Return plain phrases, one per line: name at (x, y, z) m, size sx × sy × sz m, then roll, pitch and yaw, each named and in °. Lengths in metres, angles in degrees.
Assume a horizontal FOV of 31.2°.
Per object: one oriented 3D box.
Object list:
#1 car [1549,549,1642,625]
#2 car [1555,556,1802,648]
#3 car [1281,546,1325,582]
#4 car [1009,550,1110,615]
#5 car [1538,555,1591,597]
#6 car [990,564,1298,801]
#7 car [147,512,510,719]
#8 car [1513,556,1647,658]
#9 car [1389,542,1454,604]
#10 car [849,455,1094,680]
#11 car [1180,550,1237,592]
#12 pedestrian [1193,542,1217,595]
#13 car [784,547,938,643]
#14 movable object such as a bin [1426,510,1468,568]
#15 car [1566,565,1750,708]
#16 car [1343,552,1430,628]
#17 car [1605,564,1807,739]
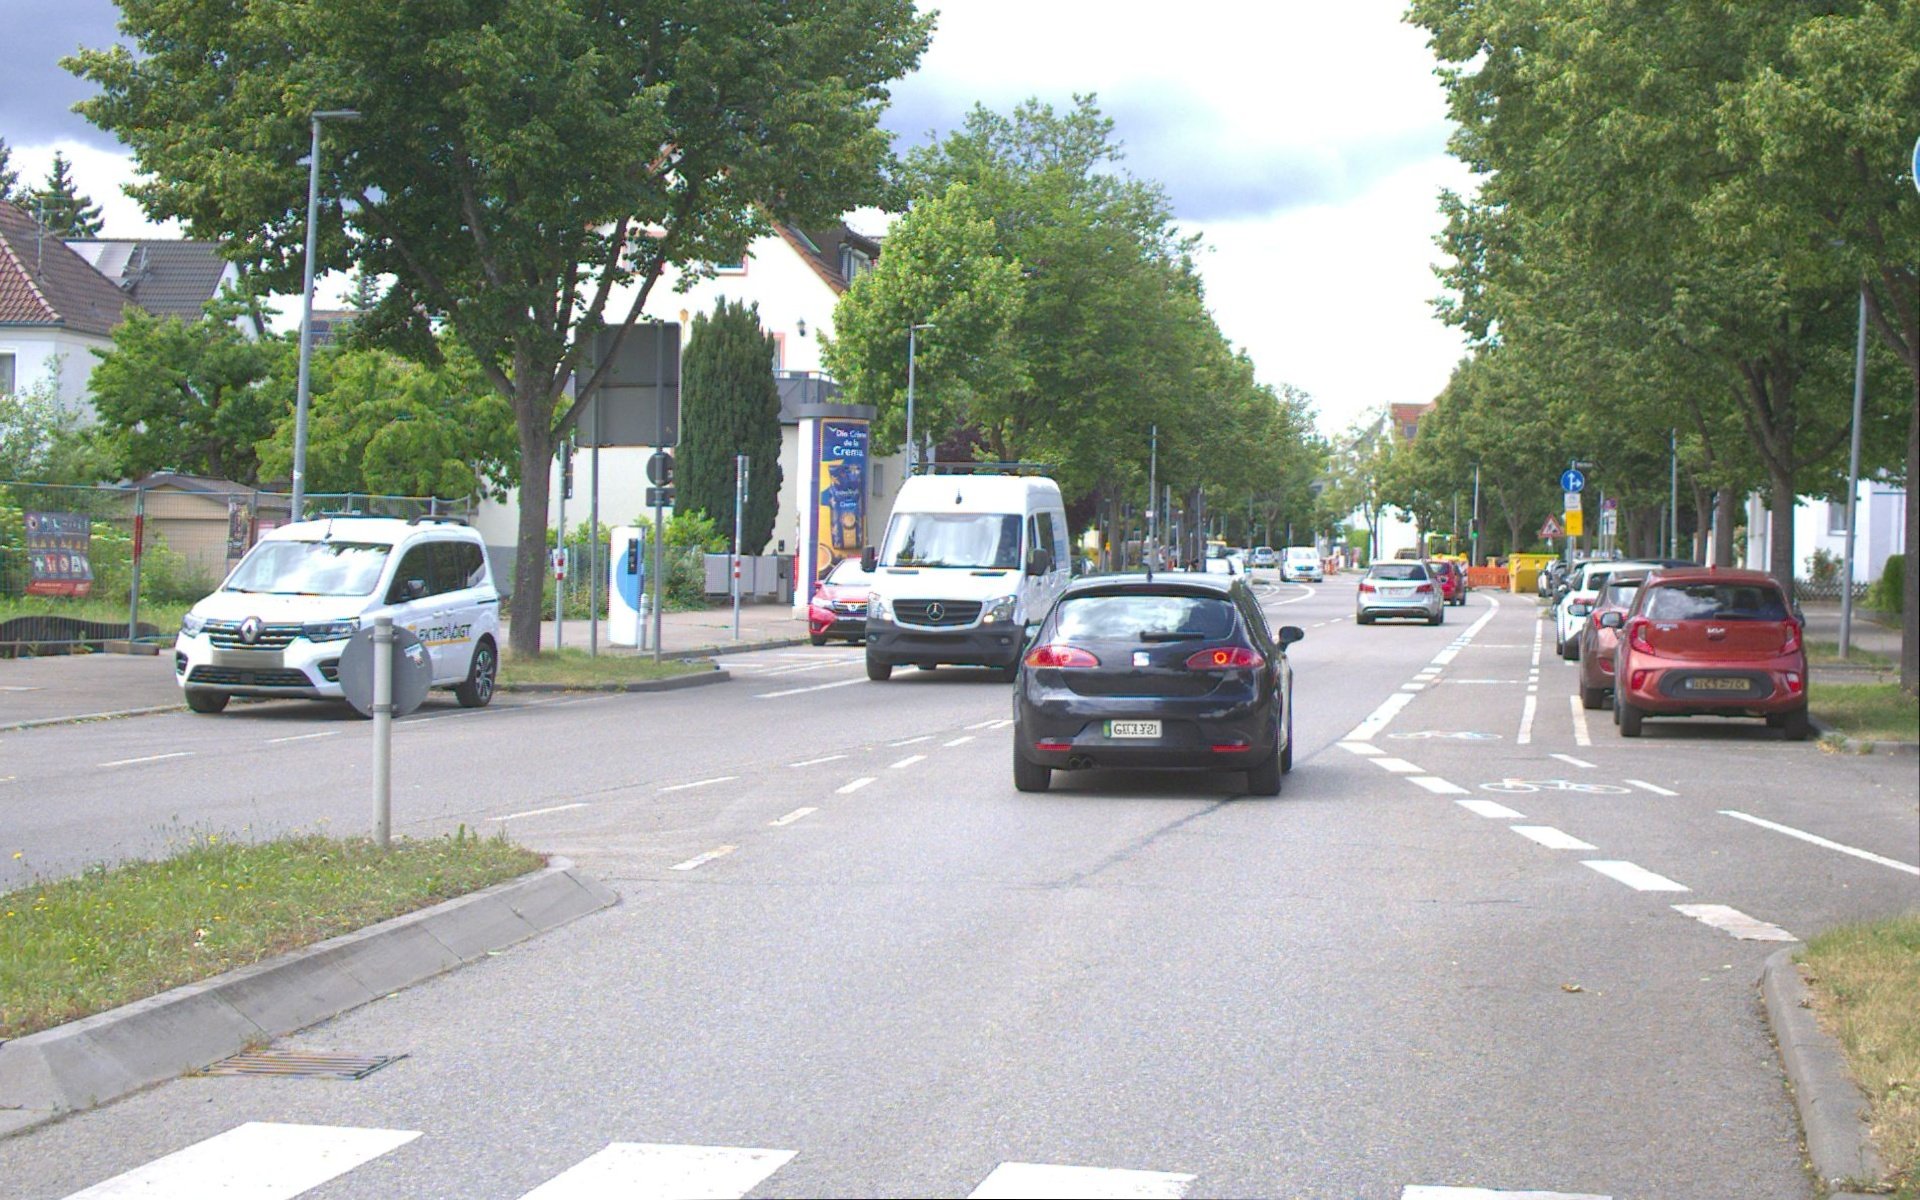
car at (13.800, -0.307, 74.820) m, size 1.722 × 1.575 × 4.060 m, roll 1°, pitch 1°, yaw 7°
car at (13.033, 0.021, 62.539) m, size 4.217 × 1.632 × 1.693 m, roll 0°, pitch 1°, yaw 4°
car at (18.264, -1.921, 182.930) m, size 1.967 × 1.824 × 4.817 m, roll 1°, pitch 1°, yaw 9°
car at (2.353, -0.434, 80.406) m, size 1.732 × 1.464 × 4.299 m, roll 0°, pitch 1°, yaw 10°
car at (21.669, -0.871, 123.350) m, size 1.706 × 1.449 × 4.615 m, roll 1°, pitch 1°, yaw 8°
car at (1.322, 0.492, 23.213) m, size 1.819 × 1.433 × 3.739 m, roll 0°, pitch 1°, yaw 7°
car at (-5.823, 0.096, 32.293) m, size 1.771 × 1.764 × 4.549 m, roll 1°, pitch 1°, yaw 11°
car at (9.576, 0.069, 53.355) m, size 1.806 × 1.470 × 4.811 m, roll 1°, pitch 1°, yaw 8°
car at (14.667, -0.869, 109.420) m, size 1.908 × 1.875 × 3.999 m, roll 1°, pitch 1°, yaw 6°
car at (0.242, -0.443, 44.196) m, size 2.020 × 2.665 × 5.803 m, roll 1°, pitch 1°, yaw 11°
car at (8.521, -0.994, 117.694) m, size 1.643 × 1.415 × 4.019 m, roll 0°, pitch 1°, yaw 8°
pedestrian at (7.840, -1.014, 109.867) m, size 0.543 × 1.675 × 0.749 m, roll 3°, pitch 2°, yaw 18°
car at (-1.631, -0.117, 58.095) m, size 1.686 × 1.536 × 4.130 m, roll 1°, pitch 1°, yaw 11°
movable object such as a bin at (22.093, -2.775, 156.136) m, size 1.769 × 2.565 × 3.739 m, roll 1°, pitch 1°, yaw 7°
car at (7.389, 0.345, 36.657) m, size 1.653 × 1.411 × 4.176 m, roll 0°, pitch 1°, yaw 8°
car at (9.693, -0.246, 78.135) m, size 1.906 × 1.680 × 3.739 m, roll 0°, pitch 1°, yaw 7°
car at (6.704, 0.440, 31.161) m, size 1.566 × 1.450 × 3.667 m, roll 1°, pitch 0°, yaw 9°
